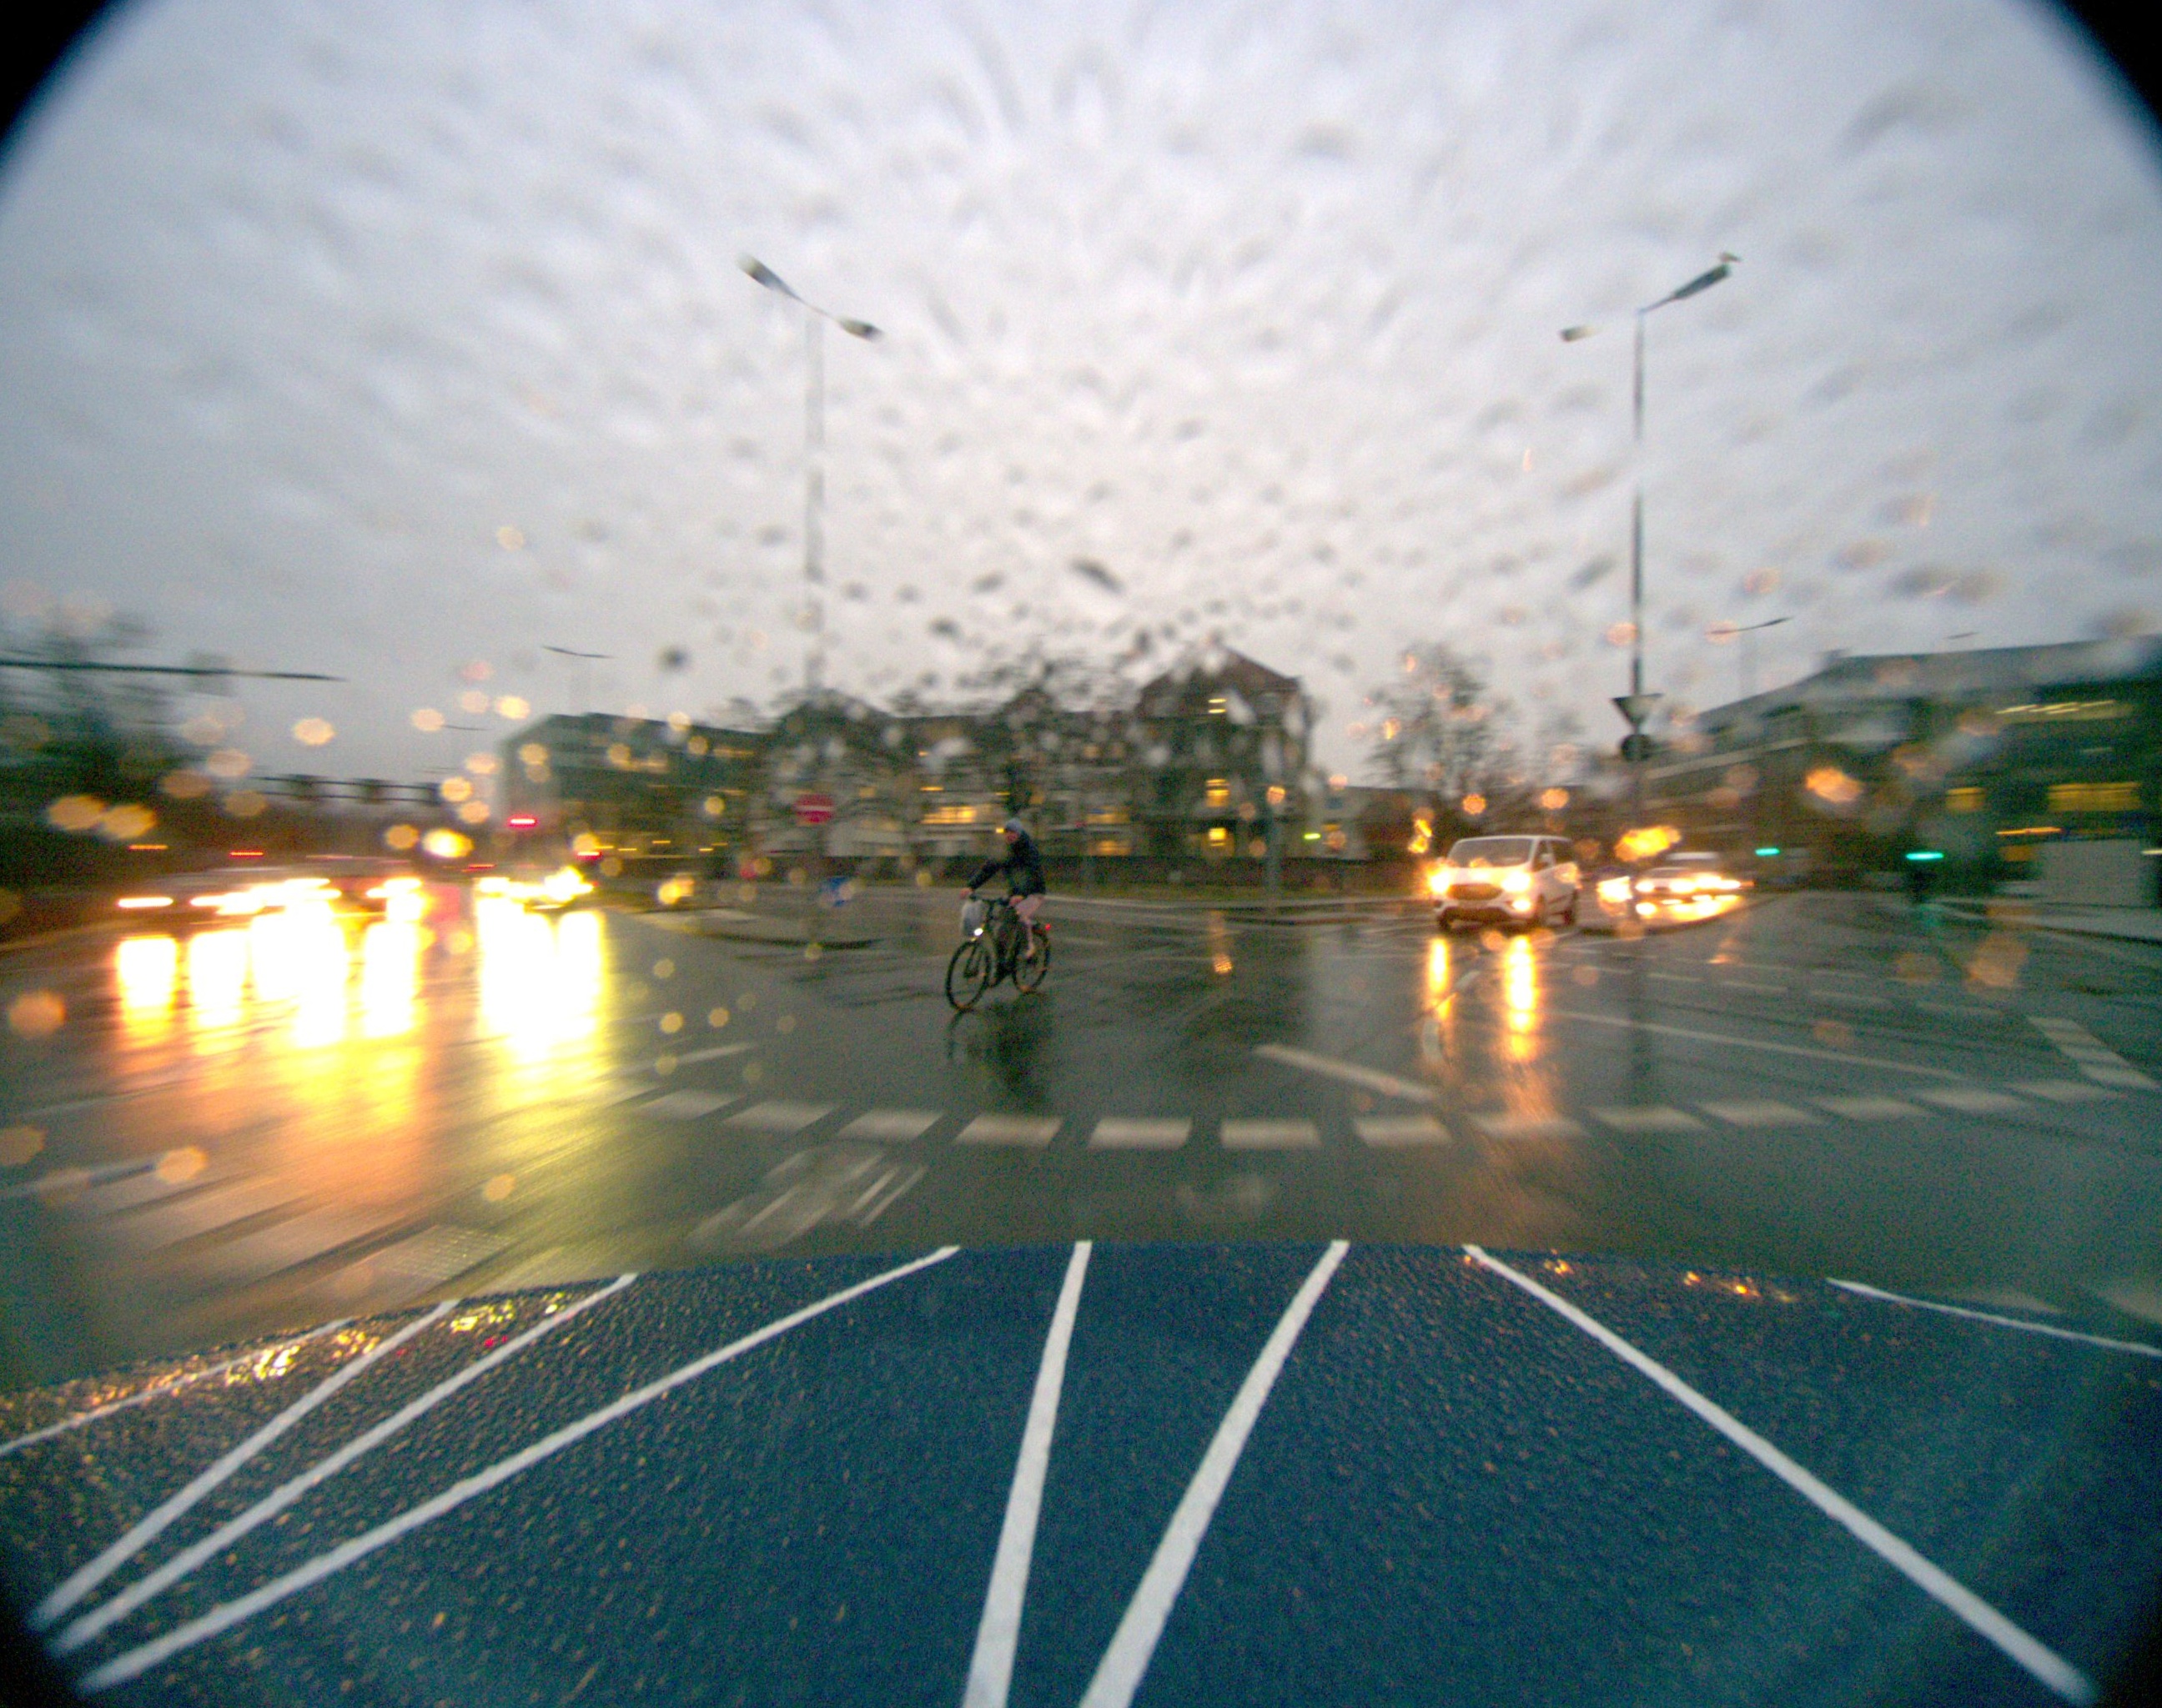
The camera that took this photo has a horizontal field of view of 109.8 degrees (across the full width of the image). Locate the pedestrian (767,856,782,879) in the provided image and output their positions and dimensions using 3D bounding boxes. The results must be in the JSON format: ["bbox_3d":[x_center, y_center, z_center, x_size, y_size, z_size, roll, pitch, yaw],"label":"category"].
[{"bbox_3d":[-24.816,1.095,61.567,0.945,1.819,0.810,1,0,45],"label":"pedestrian"}]

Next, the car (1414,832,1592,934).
[{"bbox_3d":[9.454,0.630,16.825,2.133,1.909,5.028,-3,-3,44],"label":"car"}]

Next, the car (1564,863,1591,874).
[{"bbox_3d":[69.311,2.028,106.159,1.885,1.521,4.005,0,0,13],"label":"car"}]

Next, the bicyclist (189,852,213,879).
[{"bbox_3d":[-50.326,0.654,43.458,0.769,1.481,0.991,1,0,-41],"label":"bicyclist"}]

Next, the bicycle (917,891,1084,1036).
[{"bbox_3d":[-0.769,1.046,7.938,0.793,1.215,1.907,-1,0,27],"label":"bicycle"}]

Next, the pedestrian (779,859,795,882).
[{"bbox_3d":[-23.357,1.307,60.338,0.945,1.819,0.810,1,0,45],"label":"pedestrian"}]

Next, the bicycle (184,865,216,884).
[{"bbox_3d":[-50.321,1.141,43.444,0.796,1.009,2.895,1,0,-41],"label":"bicycle"}]

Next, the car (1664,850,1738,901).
[{"bbox_3d":[32.731,1.140,40.029,5.881,2.502,2.342,1,-3,-45],"label":"car"}]

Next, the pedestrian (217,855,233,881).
[{"bbox_3d":[-67.381,1.099,59.843,0.767,2.002,0.771,0,1,-43],"label":"pedestrian"}]

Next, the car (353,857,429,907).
[{"bbox_3d":[-26.345,1.006,29.061,2.004,1.739,4.457,1,-1,-42],"label":"car"}]

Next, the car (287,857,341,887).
[{"bbox_3d":[-45.786,1.064,45.441,2.004,1.657,3.988,1,-1,-42],"label":"car"}]

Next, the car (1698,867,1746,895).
[{"bbox_3d":[40.568,1.684,48.049,4.828,1.634,1.833,1,0,-44],"label":"car"}]

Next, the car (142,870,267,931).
[{"bbox_3d":[-24.790,1.240,21.644,1.778,1.478,4.457,1,-1,-42],"label":"car"}]

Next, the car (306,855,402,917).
[{"bbox_3d":[-22.857,0.937,24.052,2.004,1.739,4.931,1,-1,-42],"label":"car"}]

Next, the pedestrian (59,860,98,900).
[{"bbox_3d":[-46.790,1.194,35.461,0.935,1.814,0.832,1,0,-42],"label":"pedestrian"}]

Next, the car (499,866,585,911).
[{"bbox_3d":[-18.805,1.135,26.417,1.936,1.368,4.485,1,-1,-42],"label":"car"}]

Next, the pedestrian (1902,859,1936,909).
[{"bbox_3d":[30.225,1.068,27.421,0.715,1.724,0.984,2,1,44],"label":"pedestrian"}]

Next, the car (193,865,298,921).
[{"bbox_3d":[-29.577,1.312,27.041,2.004,1.827,3.989,1,-1,-40],"label":"car"}]

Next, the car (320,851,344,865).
[{"bbox_3d":[-102.245,0.551,103.711,2.148,1.805,3.988,1,-1,-42],"label":"car"}]

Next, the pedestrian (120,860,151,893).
[{"bbox_3d":[-52.904,1.271,42.533,0.935,1.814,0.832,1,0,-42],"label":"pedestrian"}]

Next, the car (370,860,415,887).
[{"bbox_3d":[-43.248,1.208,47.758,2.005,1.558,4.748,3,-1,-42],"label":"car"}]

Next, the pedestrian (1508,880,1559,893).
[{"bbox_3d":[33.771,2.434,56.769,3.094,0.924,0.950,-2,-2,15],"label":"pedestrian"}]

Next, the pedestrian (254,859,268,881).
[{"bbox_3d":[-68.024,1.334,63.028,0.625,1.789,0.935,0,0,-40],"label":"pedestrian"}]

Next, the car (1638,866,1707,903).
[{"bbox_3d":[25.921,1.317,33.241,4.327,1.494,1.751,1,-3,-44],"label":"car"}]

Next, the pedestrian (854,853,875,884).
[{"bbox_3d":[-12.992,0.885,45.647,0.945,1.819,0.810,1,0,45],"label":"pedestrian"}]

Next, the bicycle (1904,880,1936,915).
[{"bbox_3d":[30.161,1.552,27.324,0.622,1.169,1.877,2,1,44],"label":"bicycle"}]

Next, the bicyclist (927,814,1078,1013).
[{"bbox_3d":[-0.785,0.564,7.932,1.024,1.872,1.238,-1,1,27],"label":"bicyclist"}]

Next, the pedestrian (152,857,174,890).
[{"bbox_3d":[-56.628,1.215,46.879,0.767,2.002,0.908,0,0,-43],"label":"pedestrian"}]

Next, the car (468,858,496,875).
[{"bbox_3d":[-60.969,1.267,77.333,2.005,1.557,4.458,4,-3,-40],"label":"car"}]

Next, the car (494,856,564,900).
[{"bbox_3d":[-24.022,0.966,33.001,2.004,1.739,4.457,0,0,-42],"label":"car"}]

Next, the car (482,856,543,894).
[{"bbox_3d":[-27.953,0.978,37.304,2.004,1.739,4.457,0,0,-42],"label":"car"}]
